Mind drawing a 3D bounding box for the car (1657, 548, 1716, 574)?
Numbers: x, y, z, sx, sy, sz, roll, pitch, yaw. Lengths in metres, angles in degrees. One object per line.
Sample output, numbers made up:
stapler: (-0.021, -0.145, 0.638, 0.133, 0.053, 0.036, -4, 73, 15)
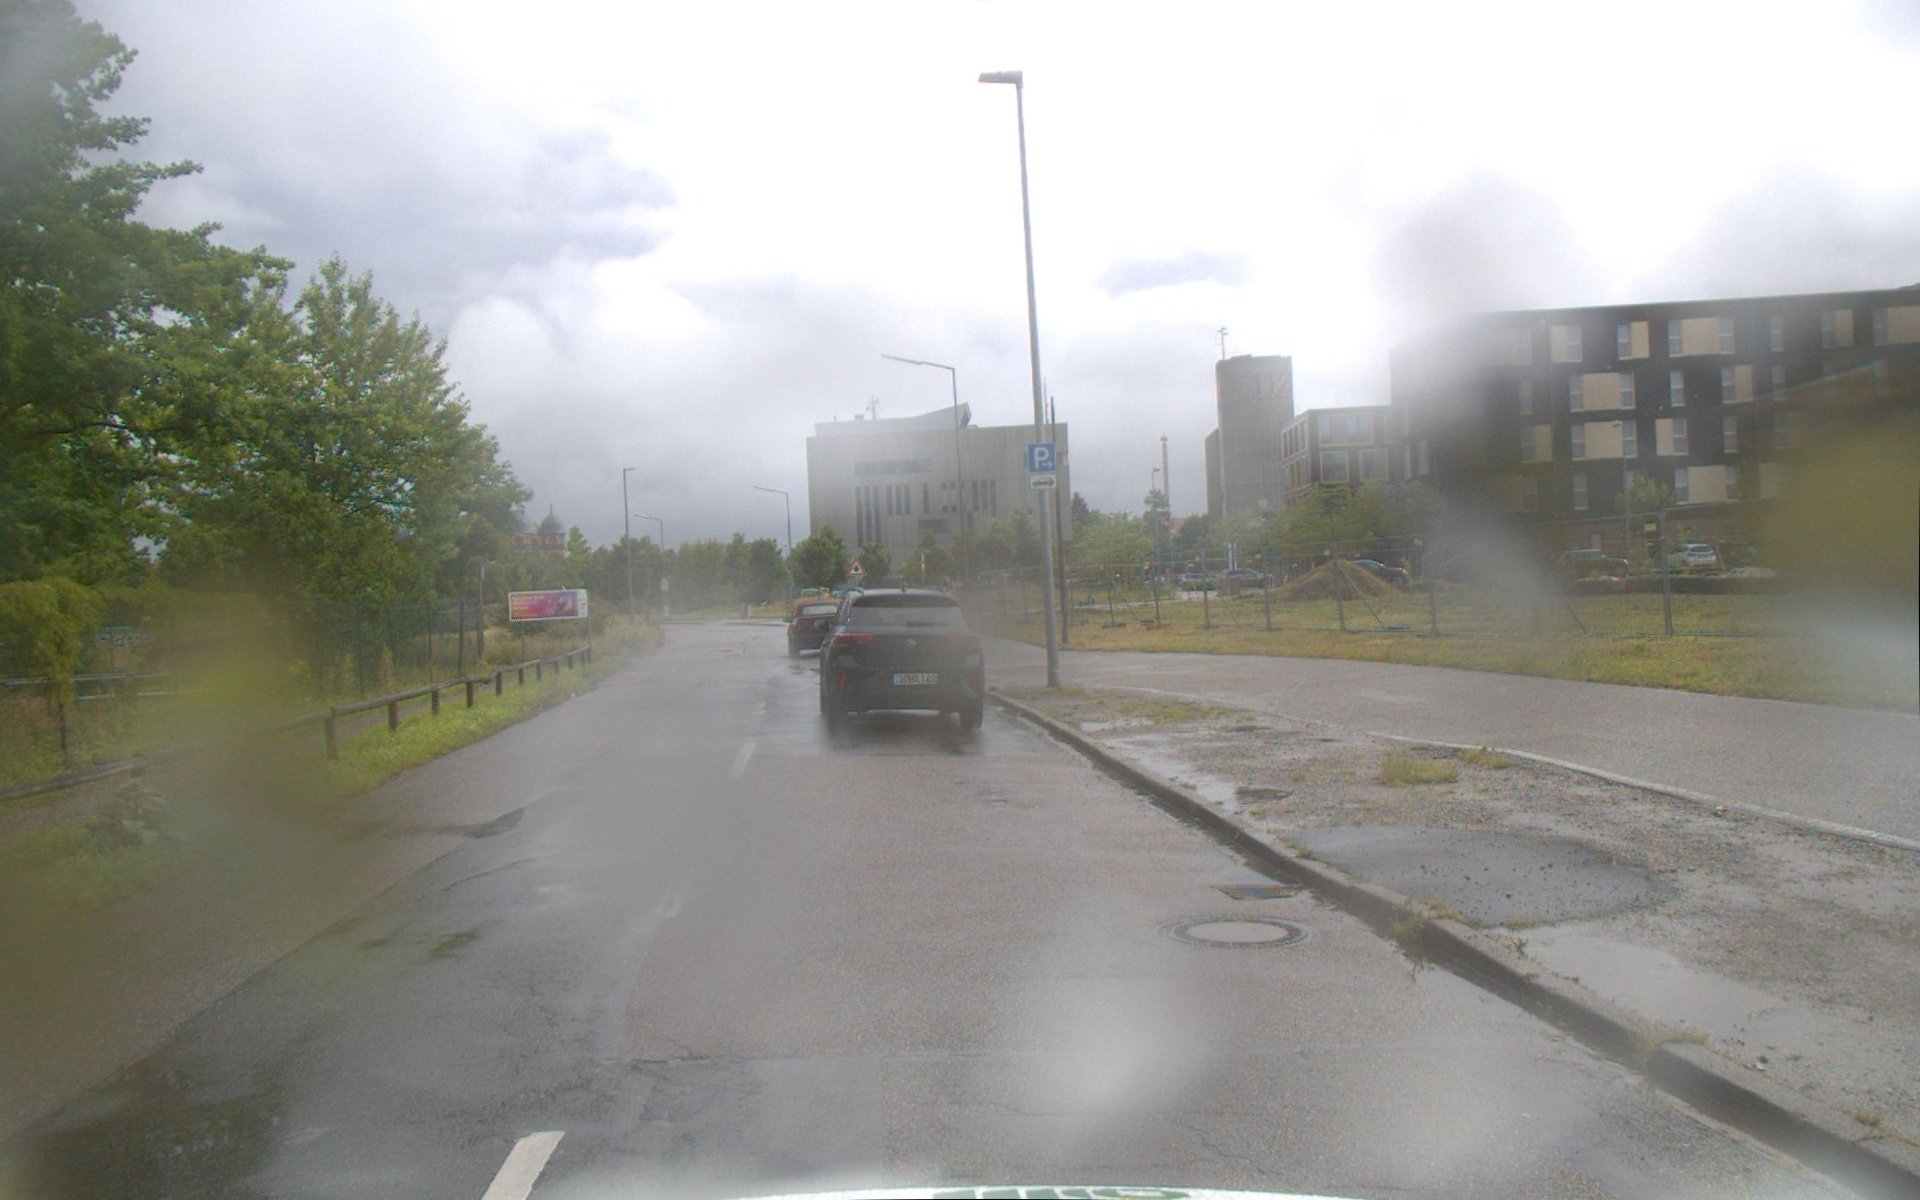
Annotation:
car: (41.036, -2.211, 93.492, 1.726, 1.419, 3.808, 0, 1, 1)

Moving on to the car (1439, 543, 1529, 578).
car: (26.375, -1.981, 83.385, 3.906, 1.758, 1.999, 0, 0, -2)

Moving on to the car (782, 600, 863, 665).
car: (-3.765, 0.833, 44.691, 1.808, 1.466, 3.992, -6, 1, -9)

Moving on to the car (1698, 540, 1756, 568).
car: (43.324, -2.606, 93.537, 1.604, 1.421, 3.782, -1, 0, 2)

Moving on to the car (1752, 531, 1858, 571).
car: (42.550, -2.462, 83.361, 4.233, 1.803, 2.001, 2, 1, 3)

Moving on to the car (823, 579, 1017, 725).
car: (-0.586, 0.531, 19.645, 1.949, 1.547, 3.994, 0, 1, -7)
